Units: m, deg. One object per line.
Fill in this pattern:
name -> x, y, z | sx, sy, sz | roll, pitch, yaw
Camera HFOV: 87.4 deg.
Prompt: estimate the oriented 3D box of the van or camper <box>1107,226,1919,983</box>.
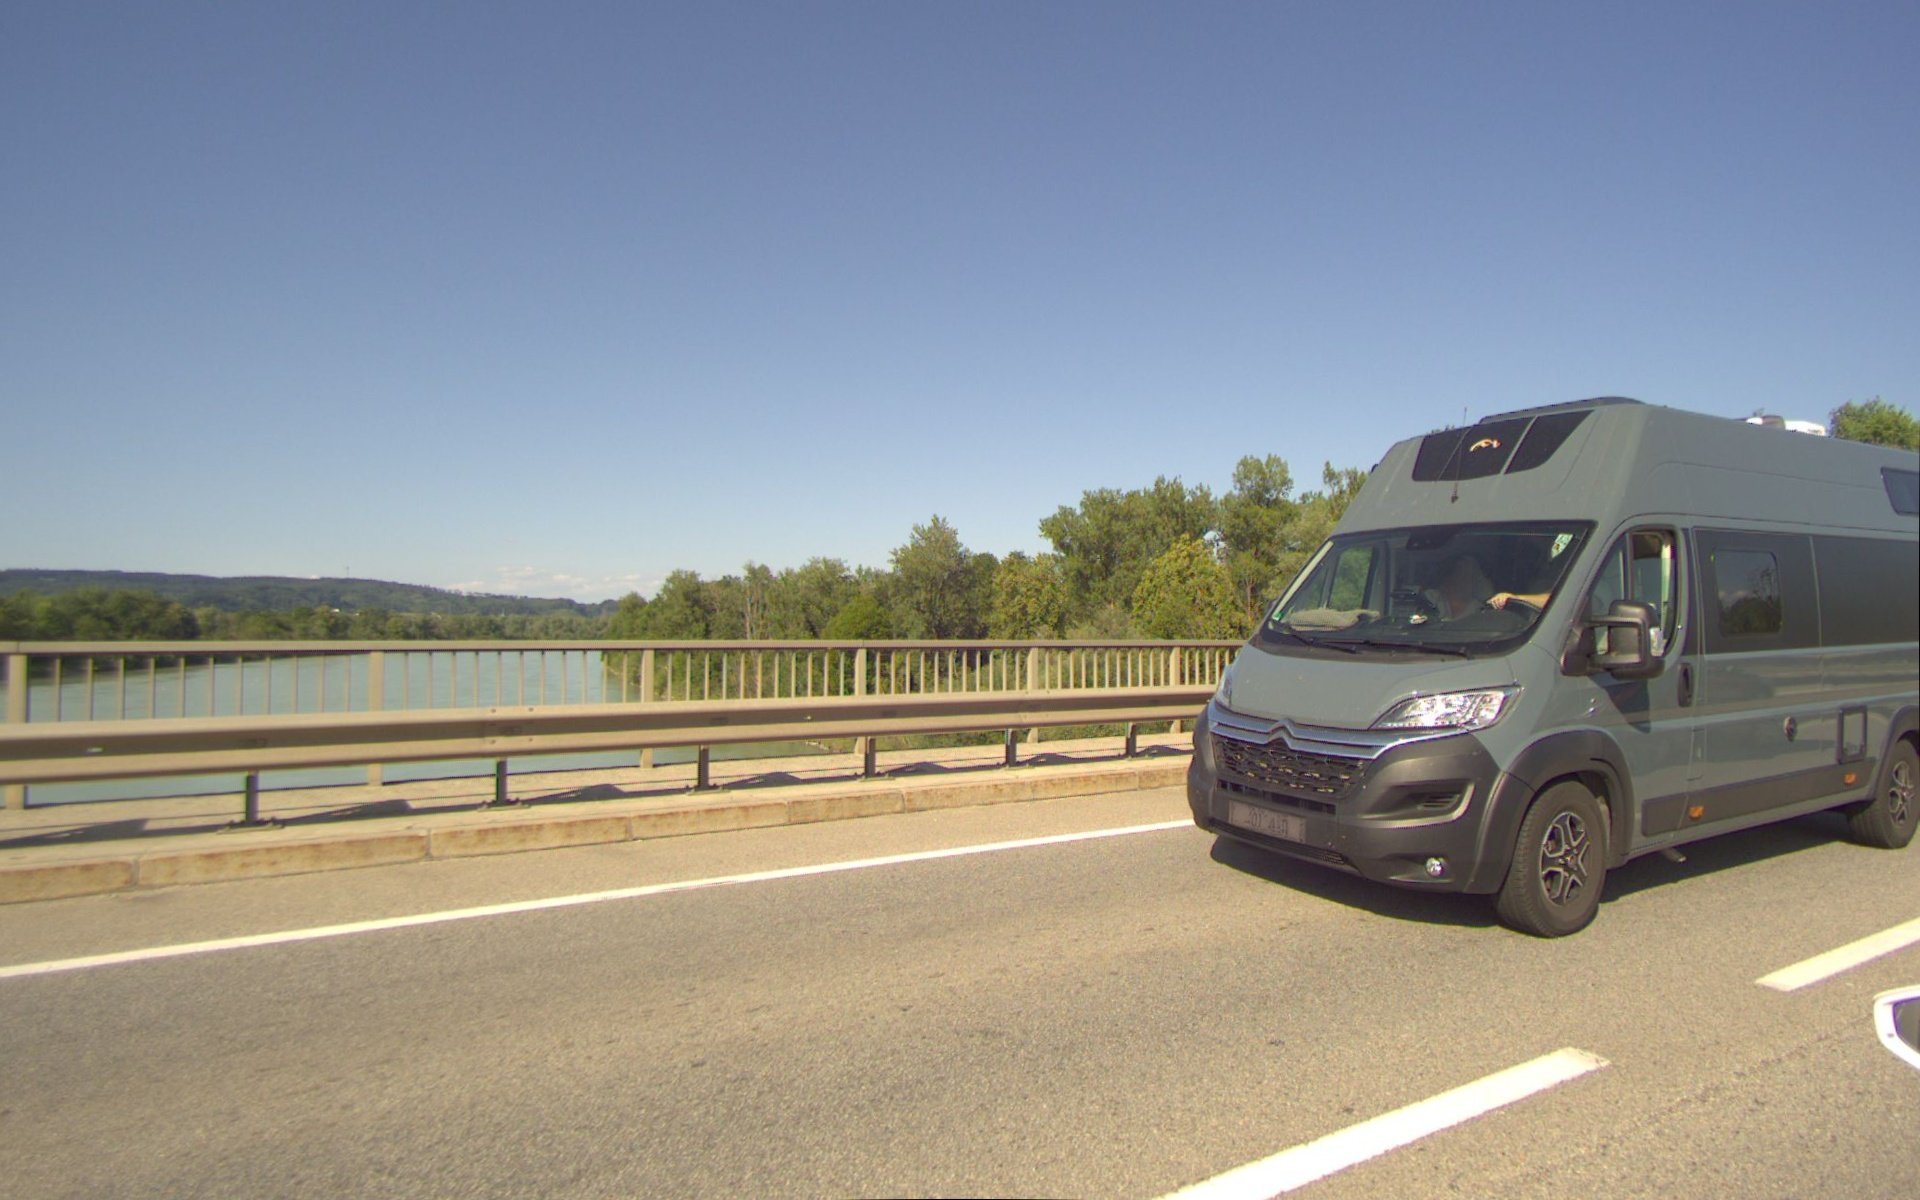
van or camper -> 4.381, 0.078, 6.820 | 6.737, 3.091, 2.304 | 1, 0, -31
